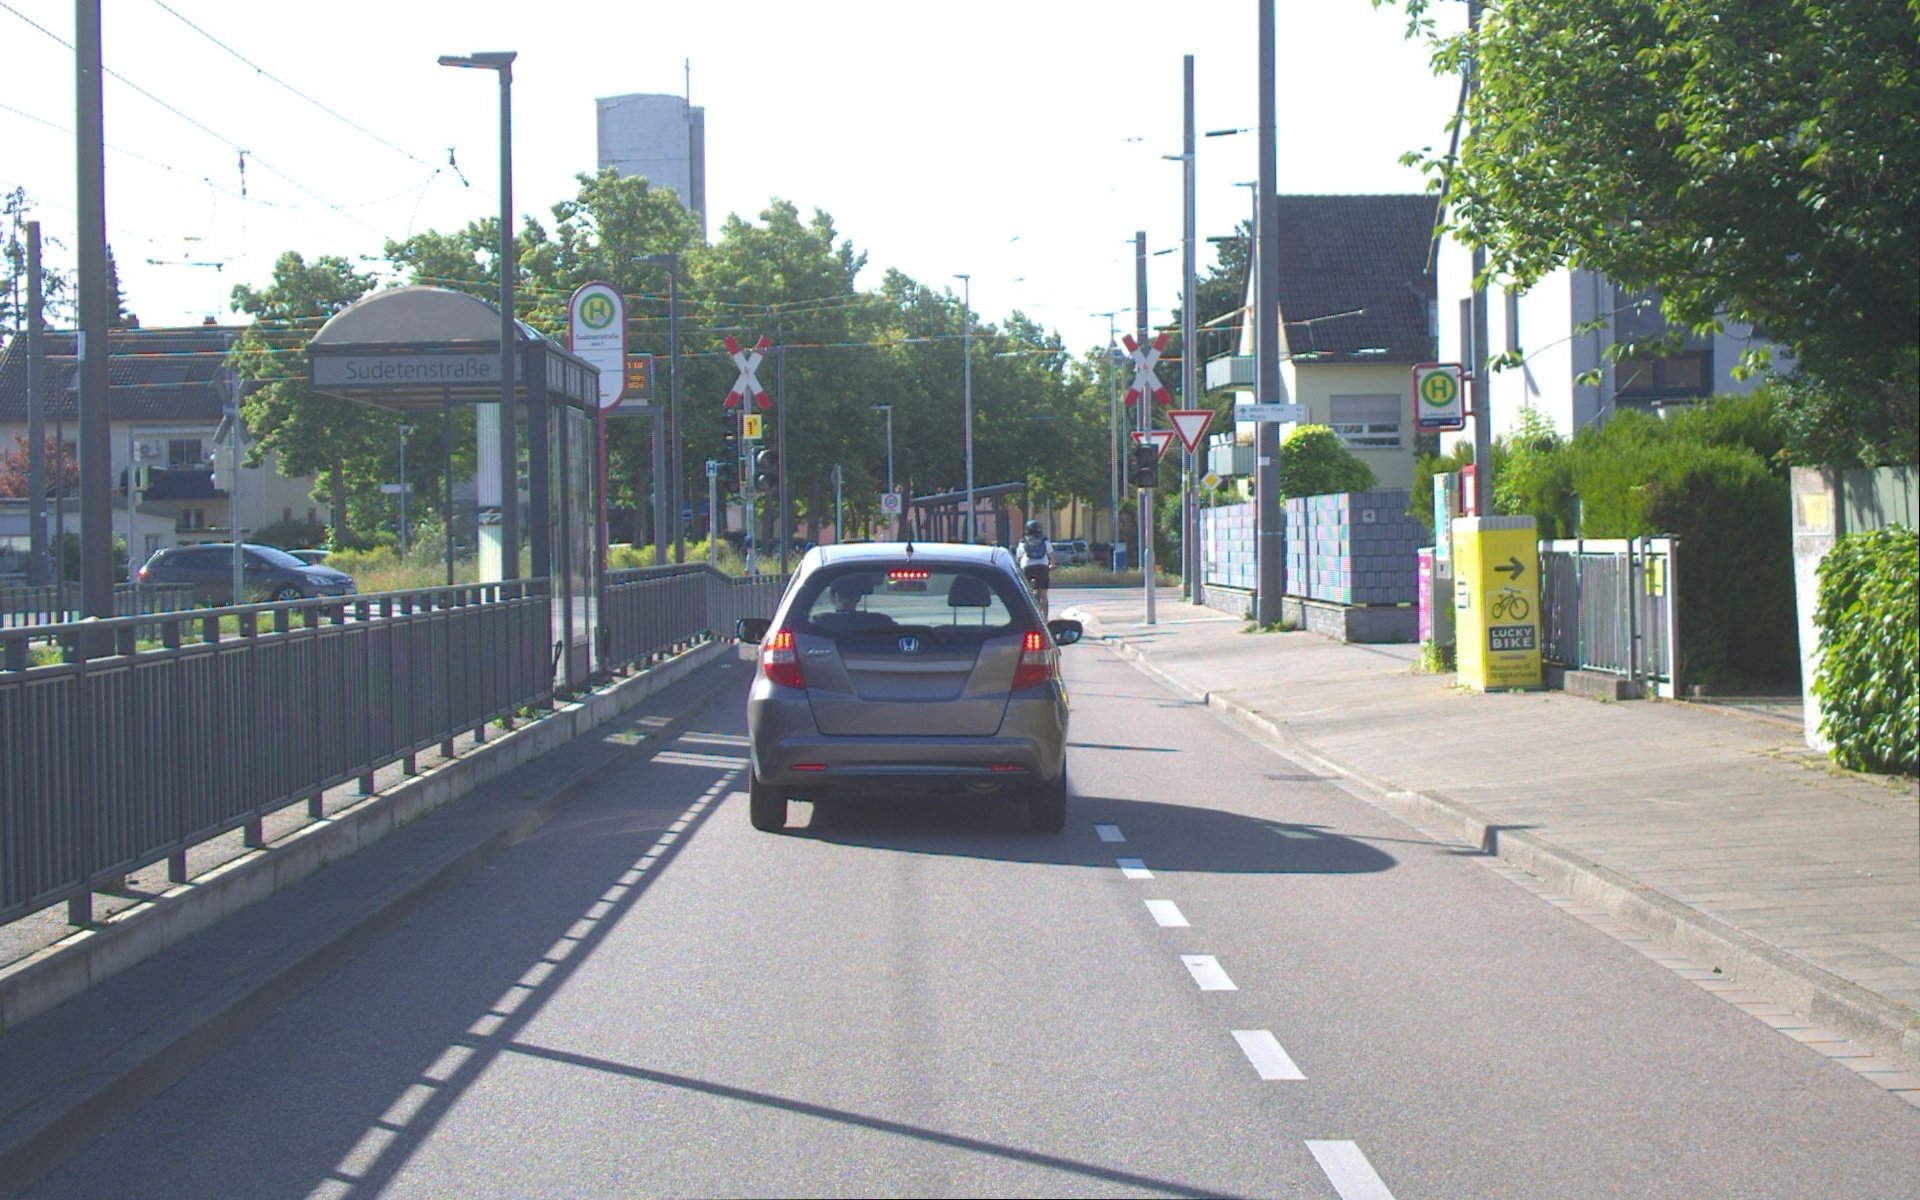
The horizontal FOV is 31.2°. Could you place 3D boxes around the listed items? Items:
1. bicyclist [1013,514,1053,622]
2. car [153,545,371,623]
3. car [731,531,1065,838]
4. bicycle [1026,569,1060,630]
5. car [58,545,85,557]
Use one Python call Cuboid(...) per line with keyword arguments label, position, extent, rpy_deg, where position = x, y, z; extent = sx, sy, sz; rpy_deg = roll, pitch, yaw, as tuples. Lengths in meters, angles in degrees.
Cuboid(label="bicyclist", position=(1.159, -0.508, 54.876), extent=(0.598, 1.695, 0.683), rpy_deg=(1, 0, 0))
Cuboid(label="car", position=(-14.312, -0.337, 70.581), extent=(3.989, 1.524, 1.807), rpy_deg=(1, 0, 13))
Cuboid(label="car", position=(-0.350, 0.401, 19.111), extent=(1.670, 1.530, 3.487), rpy_deg=(1, 1, -1))
Cuboid(label="bicycle", position=(1.325, -0.011, 55.036), extent=(0.475, 0.958, 1.657), rpy_deg=(1, 0, 0))
Cuboid(label="car", position=(-26.351, -1.461, 102.006), extent=(0.699, 0.335, 0.329), rpy_deg=(1, 0, 4))
